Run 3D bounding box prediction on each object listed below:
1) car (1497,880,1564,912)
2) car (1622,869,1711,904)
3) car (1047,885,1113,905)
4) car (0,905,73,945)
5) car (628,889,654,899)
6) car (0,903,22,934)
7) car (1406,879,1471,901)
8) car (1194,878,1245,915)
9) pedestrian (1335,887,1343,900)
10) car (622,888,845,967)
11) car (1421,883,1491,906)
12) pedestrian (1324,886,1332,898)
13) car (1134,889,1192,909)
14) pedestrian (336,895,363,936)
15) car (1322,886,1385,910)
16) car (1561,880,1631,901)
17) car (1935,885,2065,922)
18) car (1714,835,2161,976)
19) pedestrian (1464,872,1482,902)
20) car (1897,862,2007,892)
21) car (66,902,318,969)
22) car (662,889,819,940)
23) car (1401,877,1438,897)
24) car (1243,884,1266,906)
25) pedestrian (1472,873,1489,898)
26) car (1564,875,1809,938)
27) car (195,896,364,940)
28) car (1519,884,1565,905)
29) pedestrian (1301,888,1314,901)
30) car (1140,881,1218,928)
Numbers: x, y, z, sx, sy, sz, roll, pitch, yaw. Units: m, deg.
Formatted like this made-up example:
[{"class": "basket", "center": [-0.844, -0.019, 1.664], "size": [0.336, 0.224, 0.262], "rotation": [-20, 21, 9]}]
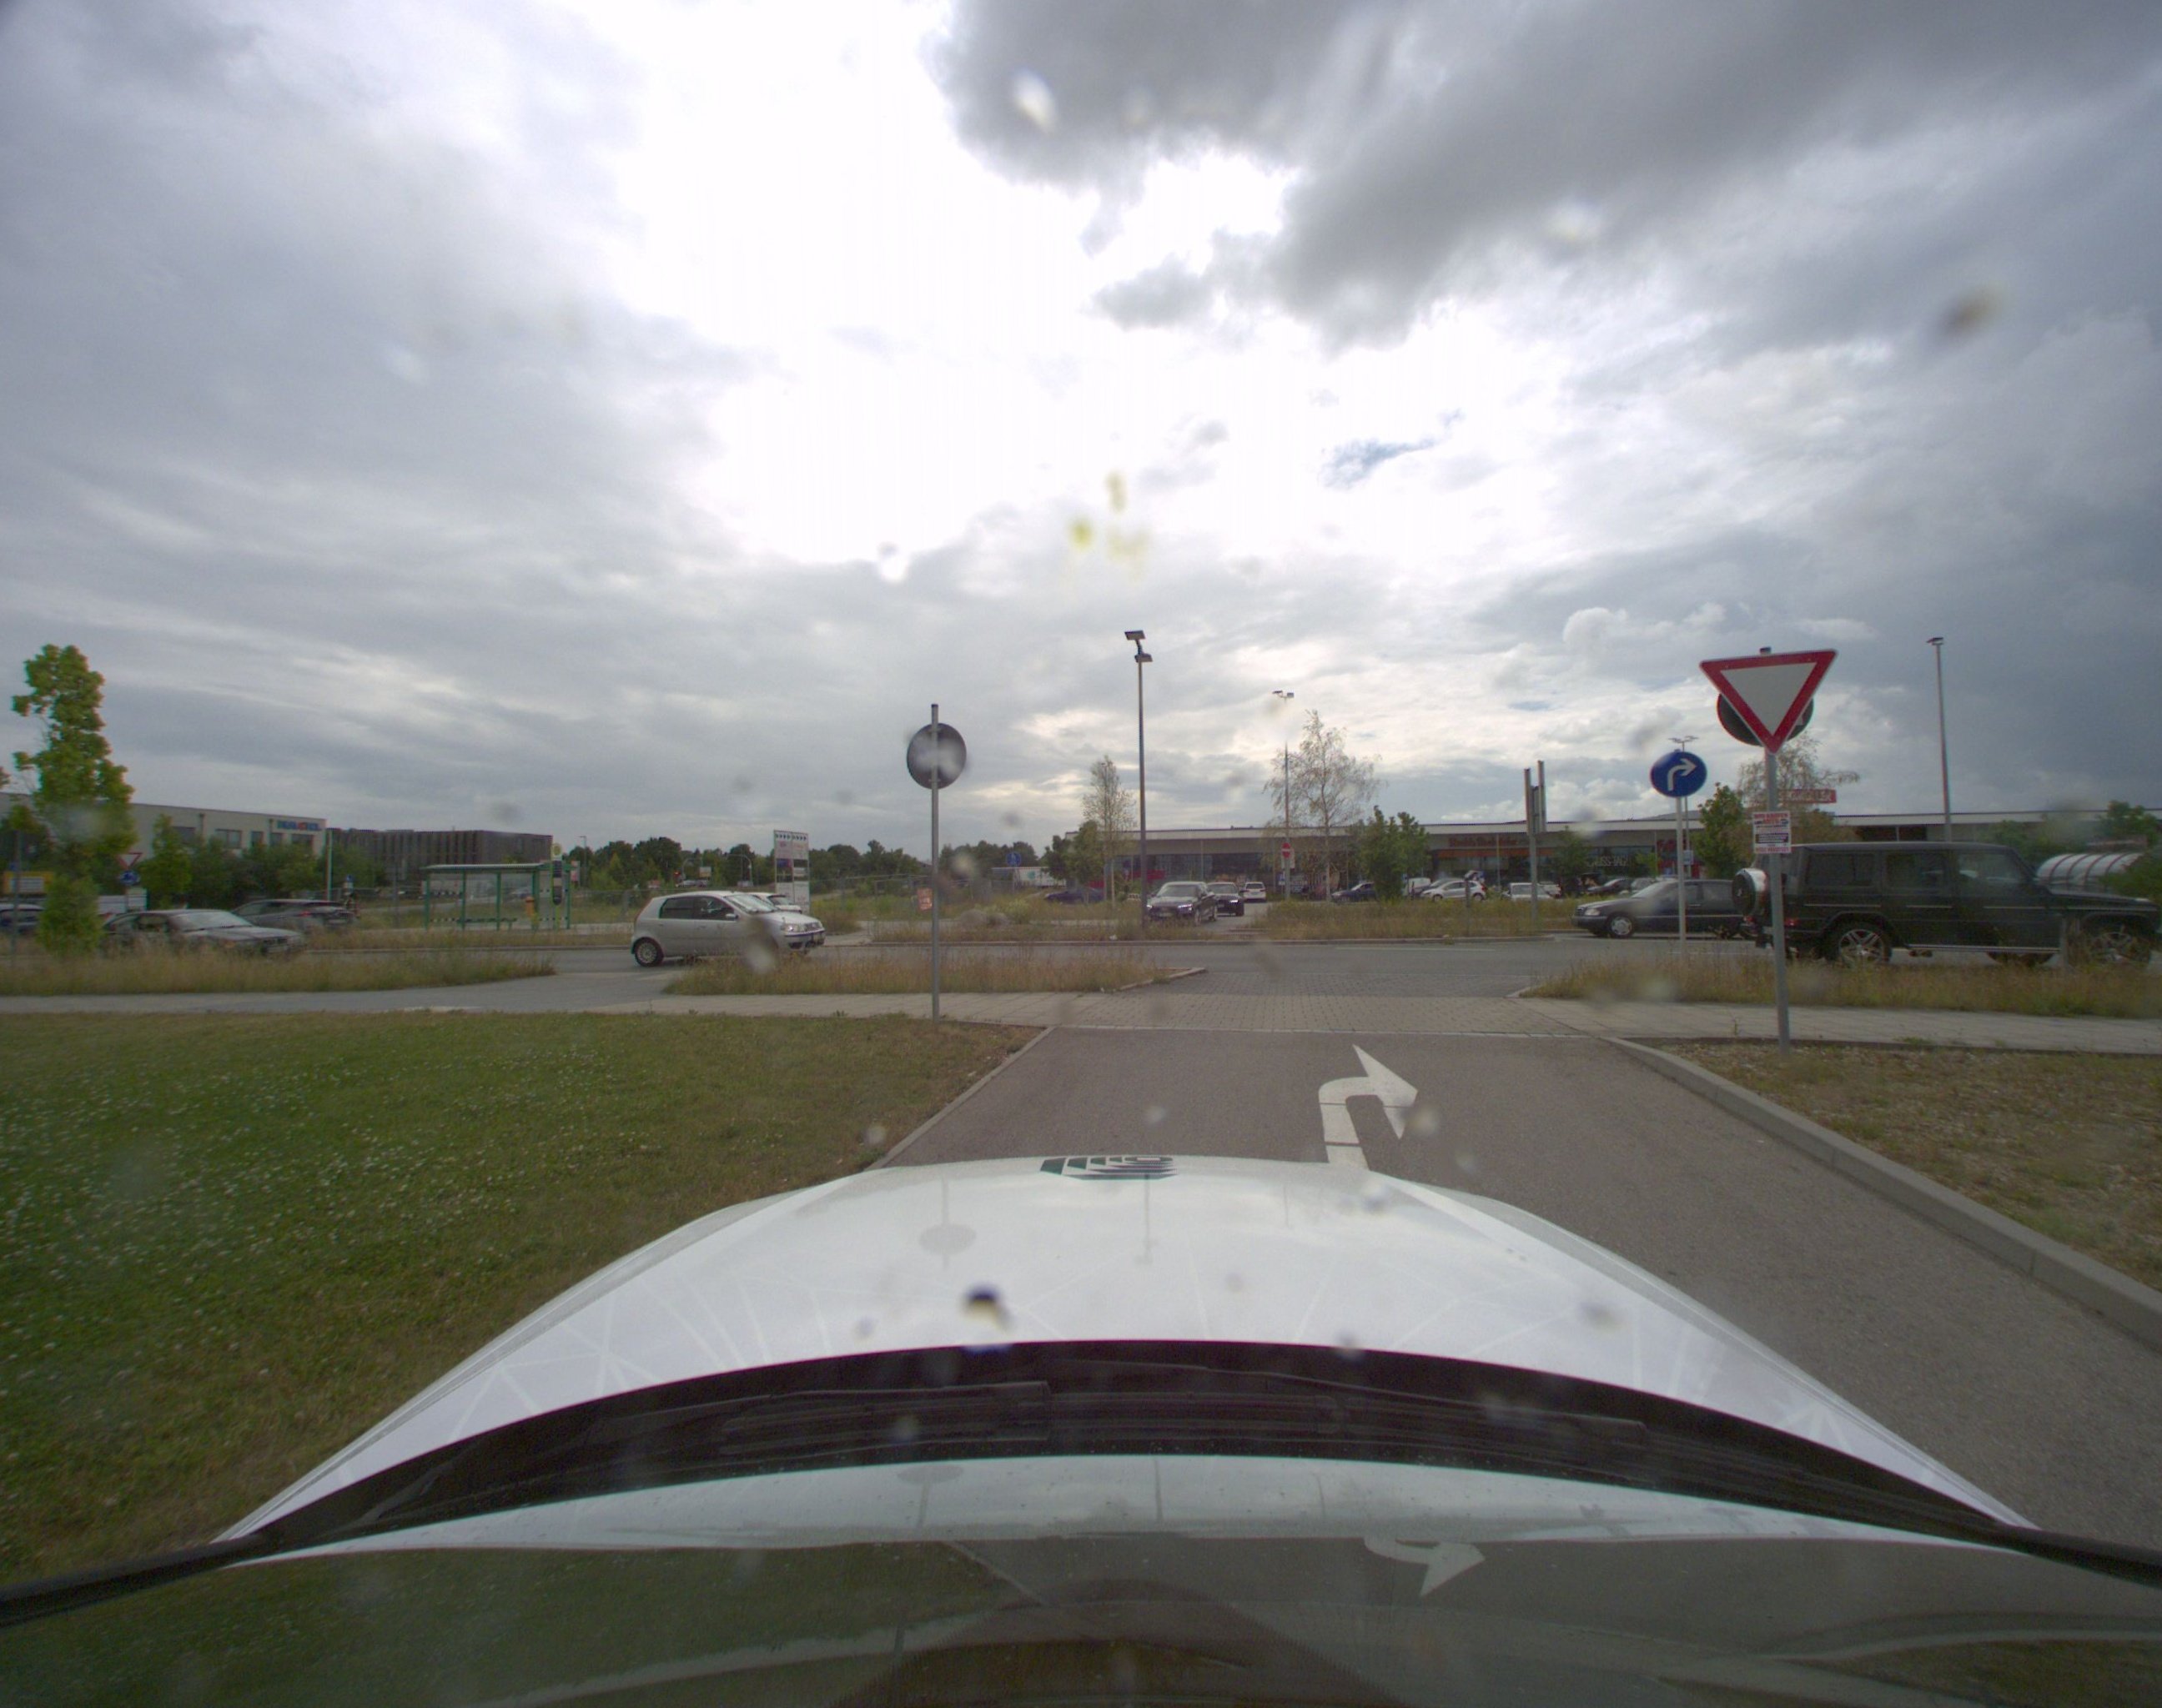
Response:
[{"class": "car", "center": [20.851, 1.947, 37.973], "size": [1.973, 1.385, 4.168], "rotation": [-1, -3, 18]}, {"class": "car", "center": [25.670, 1.454, 35.855], "size": [1.973, 1.451, 4.168], "rotation": [-1, -3, 18]}, {"class": "car", "center": [-0.069, 3.229, 64.224], "size": [4.983, 1.558, 2.003], "rotation": [0, -3, 6]}, {"class": "car", "center": [-39.716, 2.584, 29.929], "size": [3.924, 1.343, 1.724], "rotation": [-1, -3, 12]}, {"class": "car", "center": [-65.127, 5.913, 120.553], "size": [1.668, 1.486, 3.644], "rotation": [-1, -2, 3]}, {"class": "car", "center": [-50.845, 2.991, 37.748], "size": [3.912, 1.343, 1.729], "rotation": [-2, -3, 32]}, {"class": "car", "center": [24.239, 2.459, 55.318], "size": [3.723, 1.454, 1.672], "rotation": [-1, -2, 10]}, {"class": "car", "center": [5.891, 1.793, 34.300], "size": [1.767, 1.446, 4.626], "rotation": [-1, -3, 14]}, {"class": "pedestrian", "center": [23.296, 3.561, 73.430], "size": [0.573, 1.124, 0.563], "rotation": [-1, -3, 6]}, {"class": "car", "center": [-7.064, 1.477, 16.768], "size": [3.784, 1.461, 1.803], "rotation": [-1, -2, 6]}, {"class": "car", "center": [23.932, 2.577, 52.088], "size": [3.723, 1.454, 1.672], "rotation": [-1, -2, 10]}, {"class": "pedestrian", "center": [22.612, 3.455, 74.492], "size": [0.573, 1.124, 0.563], "rotation": [-1, -3, 6]}, {"class": "car", "center": [5.812, 3.181, 57.565], "size": [3.965, 1.352, 2.004], "rotation": [-1, -3, 7]}, {"class": "pedestrian", "center": [-31.181, 2.626, 34.723], "size": [0.642, 1.722, 0.748], "rotation": [-3, -4, 43]}, {"class": "car", "center": [17.681, 2.843, 52.963], "size": [3.585, 1.454, 1.672], "rotation": [-1, -2, 9]}, {"class": "car", "center": [38.609, 2.700, 61.109], "size": [3.961, 1.508, 2.006], "rotation": [-1, -2, 11]}, {"class": "car", "center": [36.777, 1.971, 32.748], "size": [1.788, 1.385, 4.171], "rotation": [-1, -3, 23]}, {"class": "car", "center": [13.146, 0.751, 12.671], "size": [4.793, 1.924, 2.009], "rotation": [-1, -2, 18]}, {"class": "pedestrian", "center": [27.399, 2.307, 56.947], "size": [0.858, 2.014, 1.007], "rotation": [-1, -3, 15]}, {"class": "car", "center": [54.604, 1.478, 51.137], "size": [4.389, 1.819, 2.004], "rotation": [-1, -3, 7]}, {"class": "car", "center": [-20.204, 1.831, 18.591], "size": [4.262, 1.387, 1.763], "rotation": [-1, -2, 9]}, {"class": "car", "center": [-10.332, 1.819, 24.857], "size": [4.019, 1.481, 1.762], "rotation": [-1, -3, 8]}, {"class": "car", "center": [27.077, 2.641, 65.232], "size": [1.980, 1.508, 4.013], "rotation": [-1, -2, 12]}, {"class": "car", "center": [14.324, 3.357, 67.075], "size": [1.811, 1.700, 4.248], "rotation": [-1, -2, 13]}, {"class": "pedestrian", "center": [26.992, 2.132, 55.011], "size": [0.815, 1.632, 0.902], "rotation": [-1, -3, 15]}, {"class": "car", "center": [14.302, 1.264, 19.533], "size": [4.324, 1.396, 1.798], "rotation": [-2, -4, 16]}, {"class": "car", "center": [-26.094, 2.061, 26.584], "size": [4.030, 1.343, 1.721], "rotation": [0, -2, 6]}, {"class": "car", "center": [35.957, 3.134, 63.583], "size": [1.980, 1.508, 4.013], "rotation": [-1, -2, 12]}, {"class": "pedestrian", "center": [20.965, 3.728, 75.402], "size": [0.965, 1.155, 1.135], "rotation": [-1, -2, 8]}, {"class": "car", "center": [3.393, 1.640, 27.509], "size": [1.777, 1.467, 4.340], "rotation": [-1, -2, 18]}]
